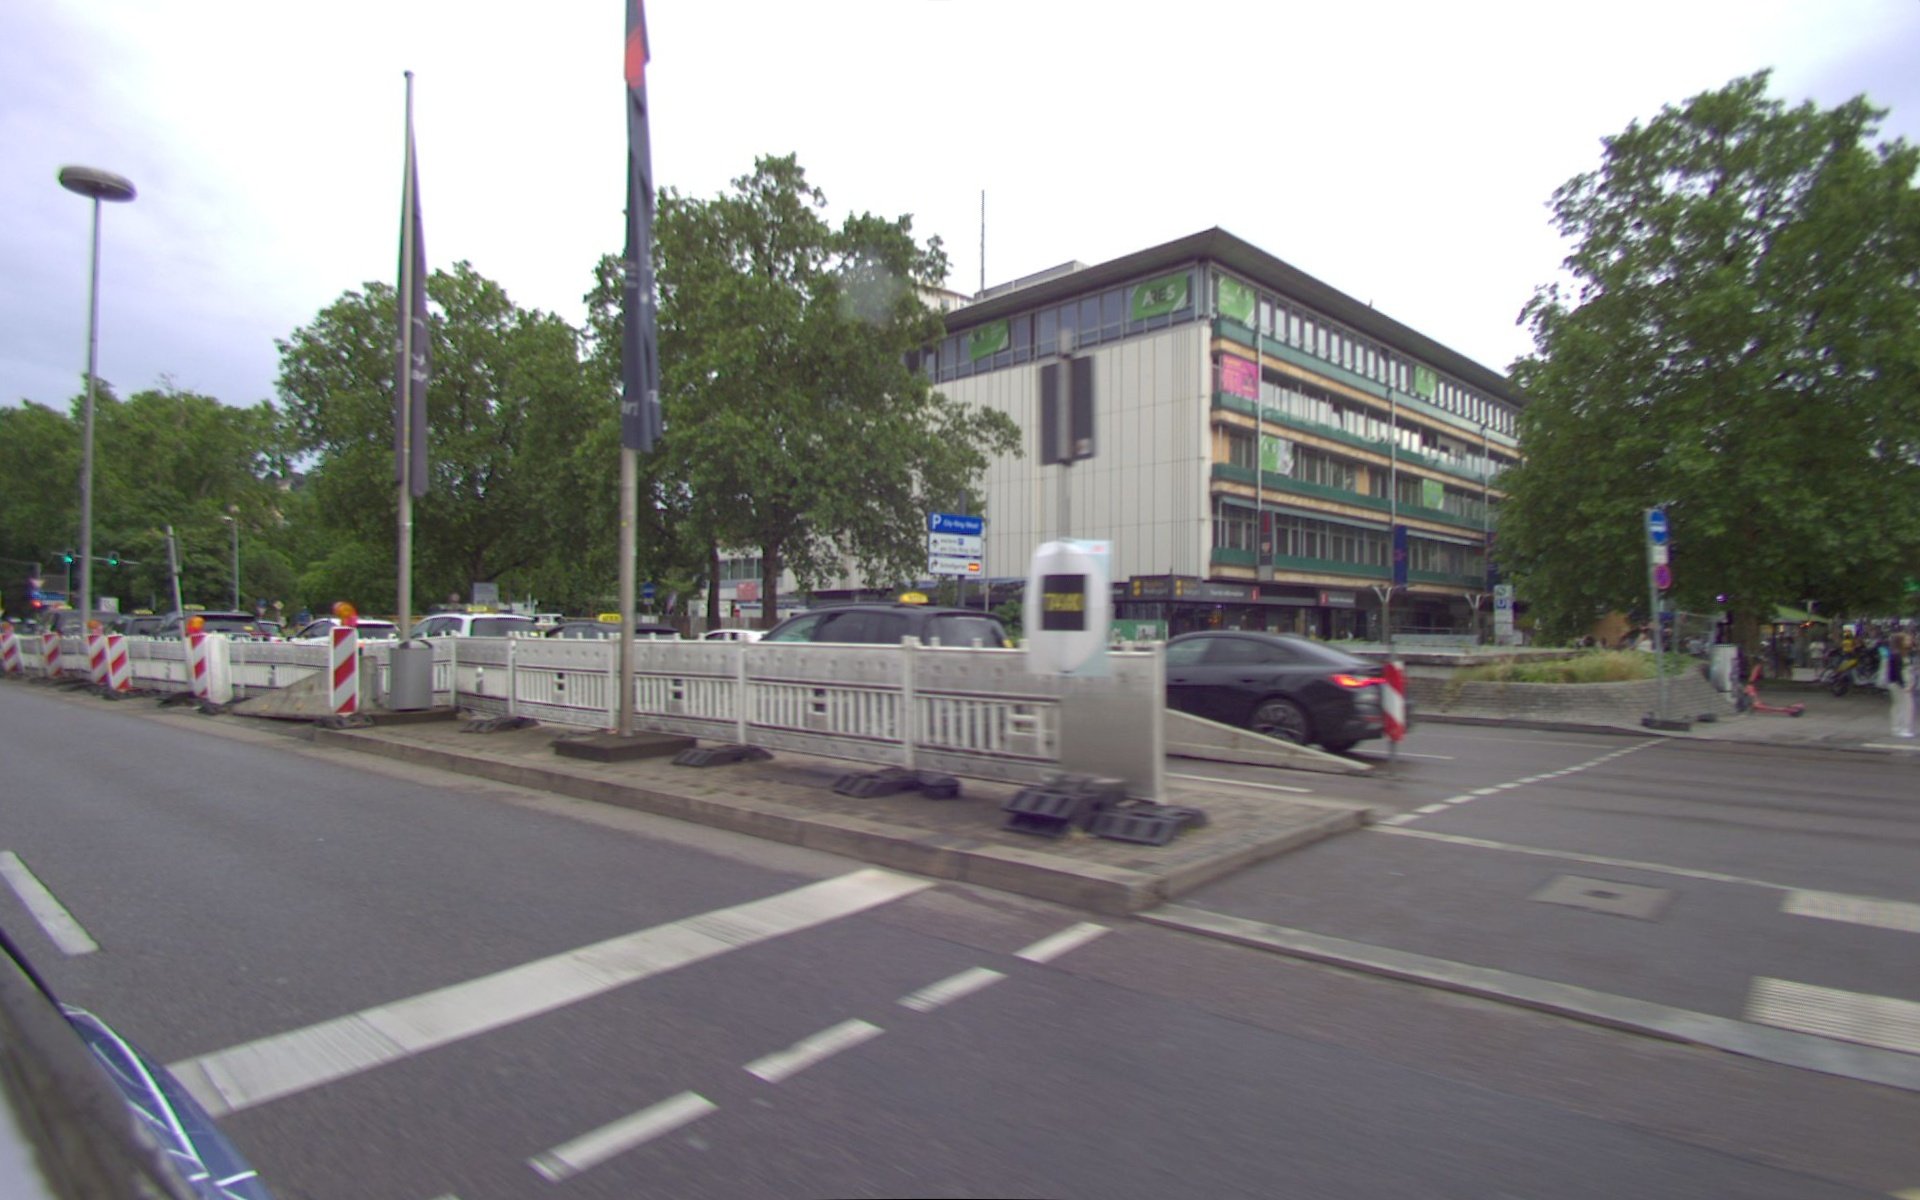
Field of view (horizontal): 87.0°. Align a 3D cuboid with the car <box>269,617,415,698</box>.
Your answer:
[{"bbox_3d":[-15.829,1.454,25.837,4.564,1.866,1.894,-3,-4,41],"label":"car"}]

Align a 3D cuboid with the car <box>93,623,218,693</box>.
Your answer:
[{"bbox_3d":[-22.597,1.614,28.354,4.810,1.784,1.972,-3,-4,42],"label":"car"}]

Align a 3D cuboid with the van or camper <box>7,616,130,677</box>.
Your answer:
[{"bbox_3d":[-29.005,1.532,32.881,5.383,1.833,1.927,-2,-5,38],"label":"van or camper"}]

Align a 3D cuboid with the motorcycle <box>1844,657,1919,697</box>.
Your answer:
[{"bbox_3d":[25.504,2.113,27.872,1.716,1.055,0.524,-2,-3,42],"label":"motorcycle"}]

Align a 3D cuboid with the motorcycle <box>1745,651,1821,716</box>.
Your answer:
[{"bbox_3d":[16.904,1.694,20.789,1.161,1.288,0.412,-2,-3,42],"label":"motorcycle"}]

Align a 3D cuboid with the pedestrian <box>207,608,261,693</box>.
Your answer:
[{"bbox_3d":[-17.786,1.221,24.808,0.820,2.029,0.867,-2,-2,39],"label":"pedestrian"}]

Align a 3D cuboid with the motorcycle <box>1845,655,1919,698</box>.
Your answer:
[{"bbox_3d":[24.040,1.962,26.168,1.716,1.055,0.524,-2,-3,42],"label":"motorcycle"}]

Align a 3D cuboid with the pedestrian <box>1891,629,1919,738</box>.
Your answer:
[{"bbox_3d":[15.504,1.334,16.319,0.658,1.698,0.592,-3,2,42],"label":"pedestrian"}]

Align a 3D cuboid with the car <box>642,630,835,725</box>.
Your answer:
[{"bbox_3d":[-4.436,1.468,19.984,3.802,1.658,1.815,-3,-2,41],"label":"car"}]

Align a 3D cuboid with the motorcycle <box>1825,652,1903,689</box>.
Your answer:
[{"bbox_3d":[27.336,2.121,30.621,1.716,1.055,0.524,-2,-3,42],"label":"motorcycle"}]

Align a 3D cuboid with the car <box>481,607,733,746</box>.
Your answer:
[{"bbox_3d":[-5.780,1.142,16.268,4.522,1.912,1.882,-3,-2,42],"label":"car"}]

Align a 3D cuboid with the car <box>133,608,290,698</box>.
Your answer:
[{"bbox_3d":[-17.118,1.217,23.041,4.810,1.831,1.972,-3,-4,43],"label":"car"}]

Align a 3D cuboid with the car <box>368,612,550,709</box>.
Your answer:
[{"bbox_3d":[-10.131,1.197,20.326,4.482,1.735,1.764,-3,-4,42],"label":"car"}]

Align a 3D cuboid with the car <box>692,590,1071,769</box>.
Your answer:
[{"bbox_3d":[-1.083,0.844,11.952,4.499,1.712,1.882,-3,-2,42],"label":"car"}]

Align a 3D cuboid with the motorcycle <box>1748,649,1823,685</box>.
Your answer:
[{"bbox_3d":[25.048,2.009,30.711,1.716,1.055,0.524,-2,-3,42],"label":"motorcycle"}]

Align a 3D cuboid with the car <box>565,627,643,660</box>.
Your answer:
[{"bbox_3d":[-19.335,2.344,55.115,3.685,1.554,1.856,-2,1,-8],"label":"car"}]

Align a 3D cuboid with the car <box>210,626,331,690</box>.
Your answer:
[{"bbox_3d":[-20.252,1.673,29.664,4.419,1.715,1.870,-3,-2,41],"label":"car"}]

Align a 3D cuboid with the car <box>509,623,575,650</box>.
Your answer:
[{"bbox_3d":[-34.295,2.994,83.001,4.751,2.029,2.042,-1,-2,-29],"label":"car"}]

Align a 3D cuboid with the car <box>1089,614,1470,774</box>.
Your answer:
[{"bbox_3d":[3.750,1.084,12.320,4.043,1.623,1.794,-3,-6,42],"label":"car"}]

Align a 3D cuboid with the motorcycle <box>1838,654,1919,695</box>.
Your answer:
[{"bbox_3d":[25.018,2.020,27.508,1.716,1.055,0.524,-2,-3,42],"label":"motorcycle"}]
